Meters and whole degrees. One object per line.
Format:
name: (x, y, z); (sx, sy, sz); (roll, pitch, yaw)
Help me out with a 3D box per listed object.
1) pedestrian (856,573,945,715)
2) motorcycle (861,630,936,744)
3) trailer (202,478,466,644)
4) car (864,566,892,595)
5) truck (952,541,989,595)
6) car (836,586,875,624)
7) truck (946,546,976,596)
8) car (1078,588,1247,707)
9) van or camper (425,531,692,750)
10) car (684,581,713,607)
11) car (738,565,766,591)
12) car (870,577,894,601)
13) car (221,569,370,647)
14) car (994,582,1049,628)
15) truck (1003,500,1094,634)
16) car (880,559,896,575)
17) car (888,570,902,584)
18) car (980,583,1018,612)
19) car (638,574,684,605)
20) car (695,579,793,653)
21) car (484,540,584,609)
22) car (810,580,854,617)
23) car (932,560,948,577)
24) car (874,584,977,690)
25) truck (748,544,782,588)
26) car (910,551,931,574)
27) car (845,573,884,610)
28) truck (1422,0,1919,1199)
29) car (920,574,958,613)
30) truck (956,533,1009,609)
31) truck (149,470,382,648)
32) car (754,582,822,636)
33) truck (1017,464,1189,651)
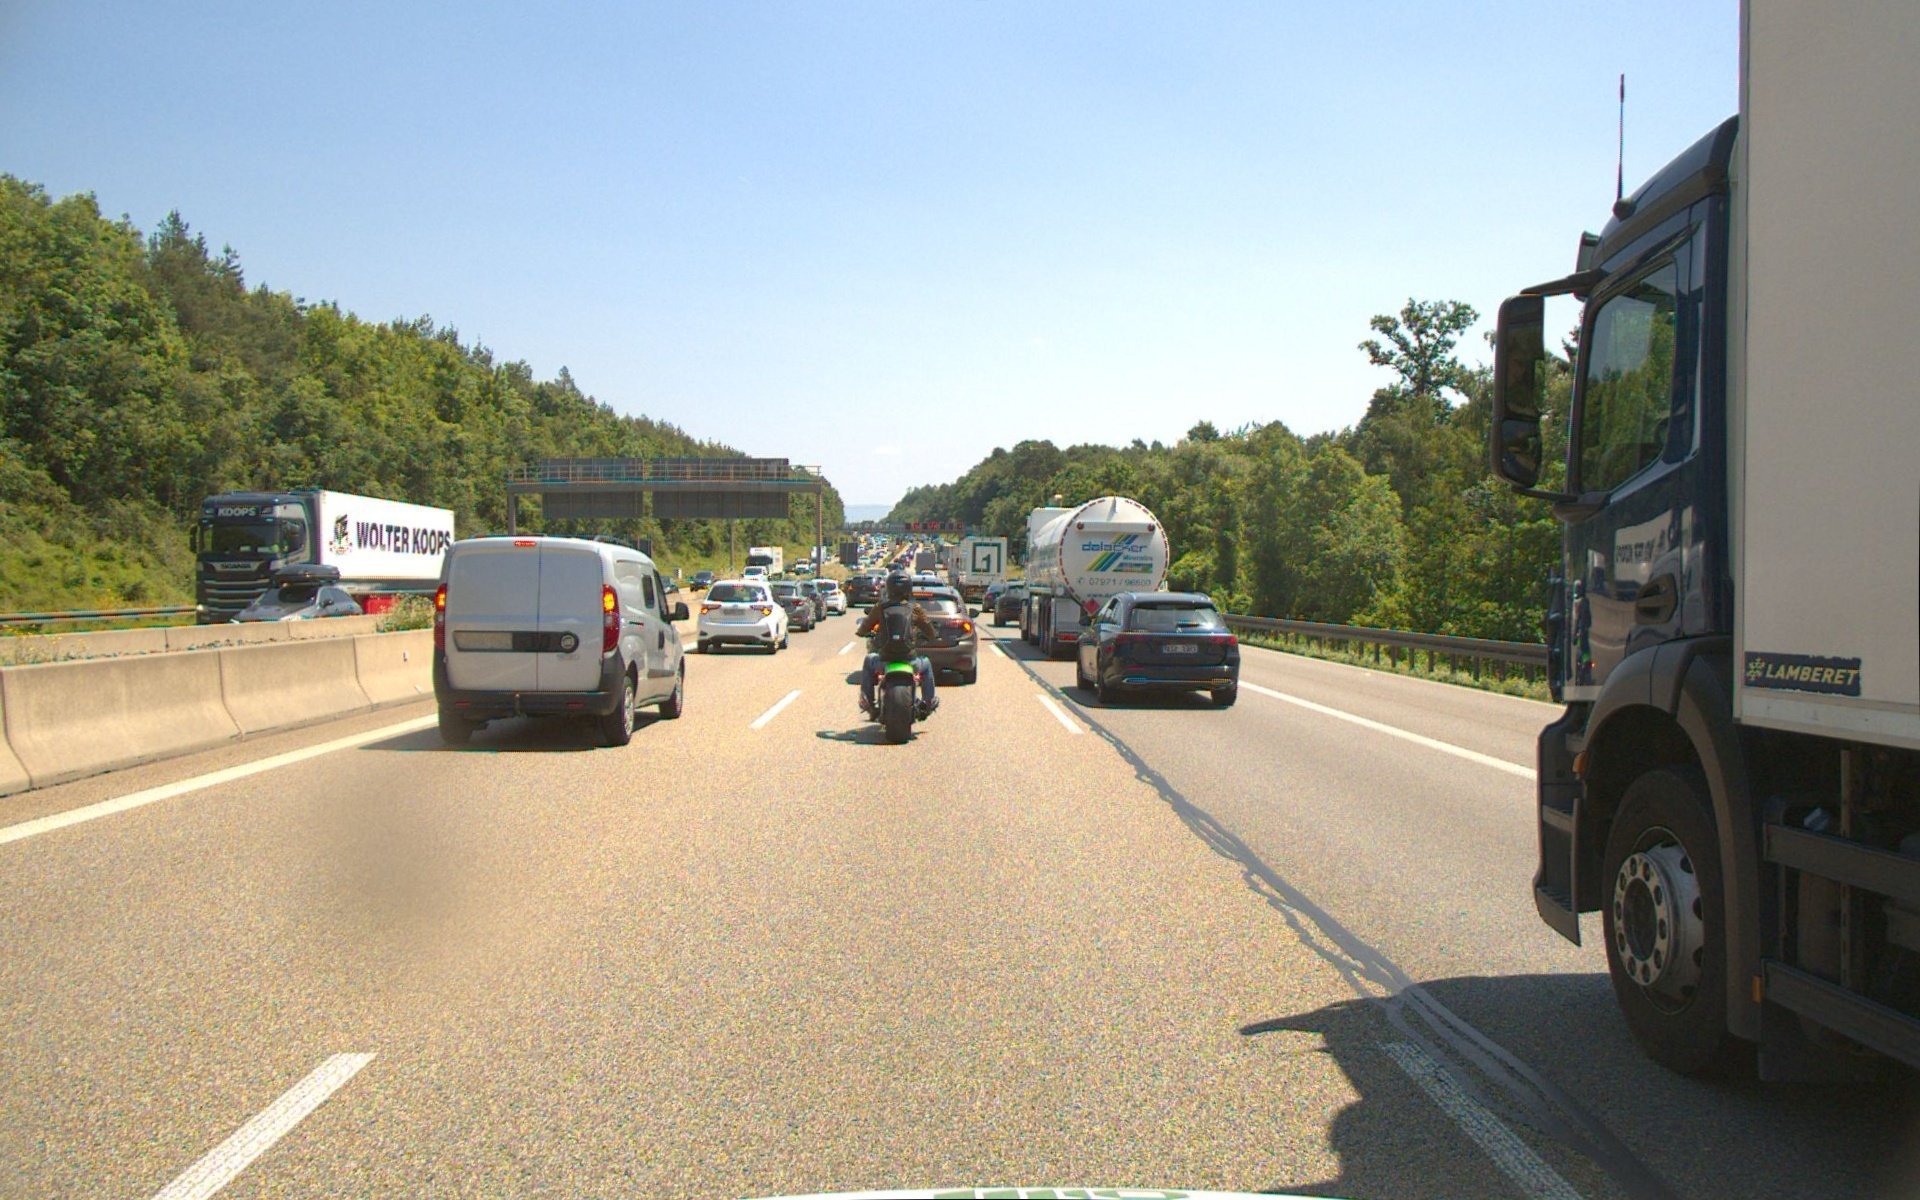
pedestrian: (-0.601, 0.438, 17.030); (0.832, 1.385, 0.961); (-2, 0, 0)
motorcycle: (-0.597, 0.846, 16.793); (0.677, 1.033, 2.121); (0, 0, 0)
trailer: (-19.919, -1.073, 54.018); (3.649, 4.607, 13.327); (-2, 0, -1)
car: (-6.107, -1.444, 123.589); (1.890, 2.049, 3.999); (-2, 0, -1)
truck: (0.856, -2.785, 146.400); (2.972, 4.621, 9.980); (1, 0, -1)
car: (-5.975, 0.275, 95.095); (1.953, 2.049, 3.999); (-2, 0, -1)
truck: (0.077, -3.064, 177.848); (2.972, 5.229, 9.980); (1, 0, -1)
car: (2.722, 0.597, 23.108); (1.791, 1.496, 3.999); (1, 0, -1)
van or camper: (-3.869, 0.375, 16.644); (1.759, 1.925, 4.158); (0, 0, -2)
car: (-21.640, -0.447, 137.196); (1.790, 2.049, 3.878); (-2, 0, -1)
car: (-17.994, -1.891, 143.417); (1.842, 2.048, 4.467); (-3, 0, -1)
car: (-7.034, -0.991, 149.437); (1.953, 2.049, 3.999); (-2, 0, -1)
car: (-15.201, 0.185, 38.090); (1.652, 1.635, 4.513); (-2, 0, -1)
car: (2.204, 0.155, 59.913); (1.751, 1.583, 3.802); (0, 0, -1)
truck: (2.489, -0.883, 47.622); (1.954, 3.584, 4.748); (-2, 0, -3)
car: (-9.425, -4.250, 215.776); (1.953, 2.049, 3.999); (0, 0, -1)
car: (-9.363, -3.308, 237.714); (1.953, 2.049, 3.999); (0, 0, -1)
car: (1.943, -0.126, 83.142); (1.751, 1.398, 3.802); (0, 1, -1)
car: (-16.065, -0.558, 88.965); (1.842, 1.621, 3.999); (0, 0, -1)
car: (-4.590, 0.307, 35.601); (1.665, 1.504, 3.999); (0, 1, -1)
car: (-15.793, -0.924, 61.731); (1.953, 2.418, 7.363); (0, 1, -1)
car: (-5.409, -0.075, 70.286); (1.665, 1.504, 3.999); (0, 1, -1)
car: (-2.587, -4.139, 215.778); (1.953, 2.049, 3.999); (-2, 0, -1)
car: (-0.577, 0.555, 26.934); (1.502, 1.536, 3.998); (-2, 0, -2)
truck: (-22.036, -3.749, 187.288); (2.709, 4.823, 10.469); (0, 0, -1)
car: (-4.654, -4.451, 196.493); (2.453, 2.632, 5.015); (0, 0, -1)
car: (-4.991, -0.432, 86.690); (1.842, 1.892, 3.999); (0, 0, -1)
truck: (3.471, -0.510, 2.148); (2.634, 3.943, 9.777); (-3, 0, -1)
car: (-1.158, -0.342, 91.288); (1.953, 2.049, 3.999); (-2, 0, -1)
truck: (1.374, -1.841, 106.820); (2.972, 4.621, 9.980); (1, 0, -1)
truck: (-19.792, -1.063, 47.758); (3.650, 4.607, 7.323); (-2, 0, -2)
car: (-5.009, 0.228, 48.526); (1.665, 1.504, 3.999); (0, 1, -1)
truck: (3.116, -0.846, 38.746); (2.927, 3.735, 9.285); (-2, 0, -1)
